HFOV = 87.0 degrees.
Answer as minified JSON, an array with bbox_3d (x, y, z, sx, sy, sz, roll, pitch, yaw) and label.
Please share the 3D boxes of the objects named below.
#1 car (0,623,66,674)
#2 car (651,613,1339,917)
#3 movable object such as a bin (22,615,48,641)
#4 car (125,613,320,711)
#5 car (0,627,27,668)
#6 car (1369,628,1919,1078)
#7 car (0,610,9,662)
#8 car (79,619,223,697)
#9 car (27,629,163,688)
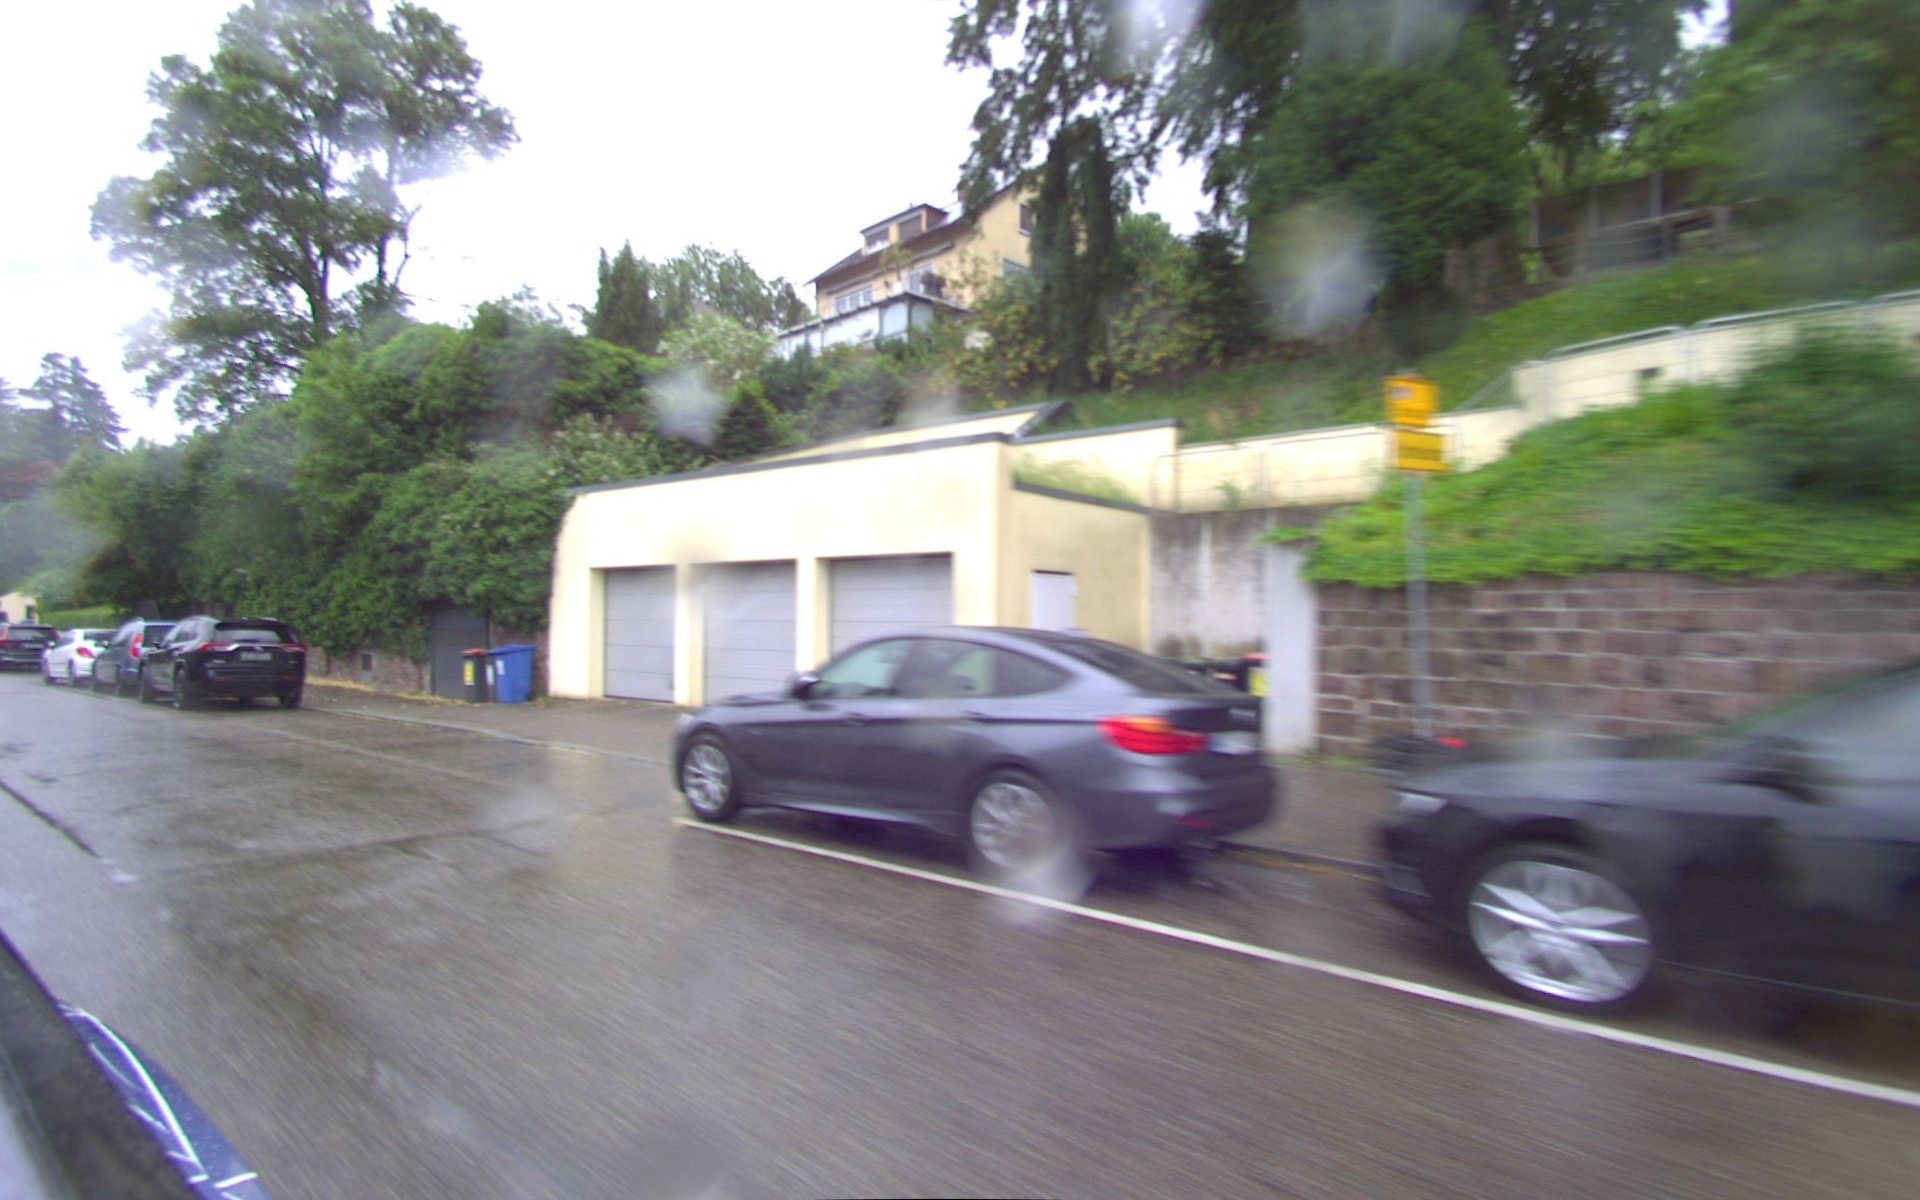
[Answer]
[{"bbox_3d":[-30.247,1.512,32.221,4.751,1.492,1.889,0,-3,40],"label":"car"},{"bbox_3d":[-0.025,0.886,7.123,4.751,1.466,1.767,-1,-4,40],"label":"car"},{"bbox_3d":[-46.995,1.416,51.406,1.401,1.324,0.812,-1,-1,41],"label":"movable object such as a bin"},{"bbox_3d":[-13.941,1.132,19.046,4.589,1.638,1.855,-1,-4,40],"label":"car"},{"bbox_3d":[-34.600,1.655,35.869,3.901,1.375,1.550,0,-2,37],"label":"car"},{"bbox_3d":[3.926,0.823,3.646,4.215,1.426,1.767,-2,-3,41],"label":"car"},{"bbox_3d":[-38.369,1.327,38.719,5.316,1.933,2.137,0,-2,38],"label":"car"},{"bbox_3d":[-17.974,1.246,22.428,4.106,1.573,1.723,-1,-3,41],"label":"car"},{"bbox_3d":[-21.661,1.433,25.293,4.076,1.376,1.700,-2,-4,37],"label":"car"}]
